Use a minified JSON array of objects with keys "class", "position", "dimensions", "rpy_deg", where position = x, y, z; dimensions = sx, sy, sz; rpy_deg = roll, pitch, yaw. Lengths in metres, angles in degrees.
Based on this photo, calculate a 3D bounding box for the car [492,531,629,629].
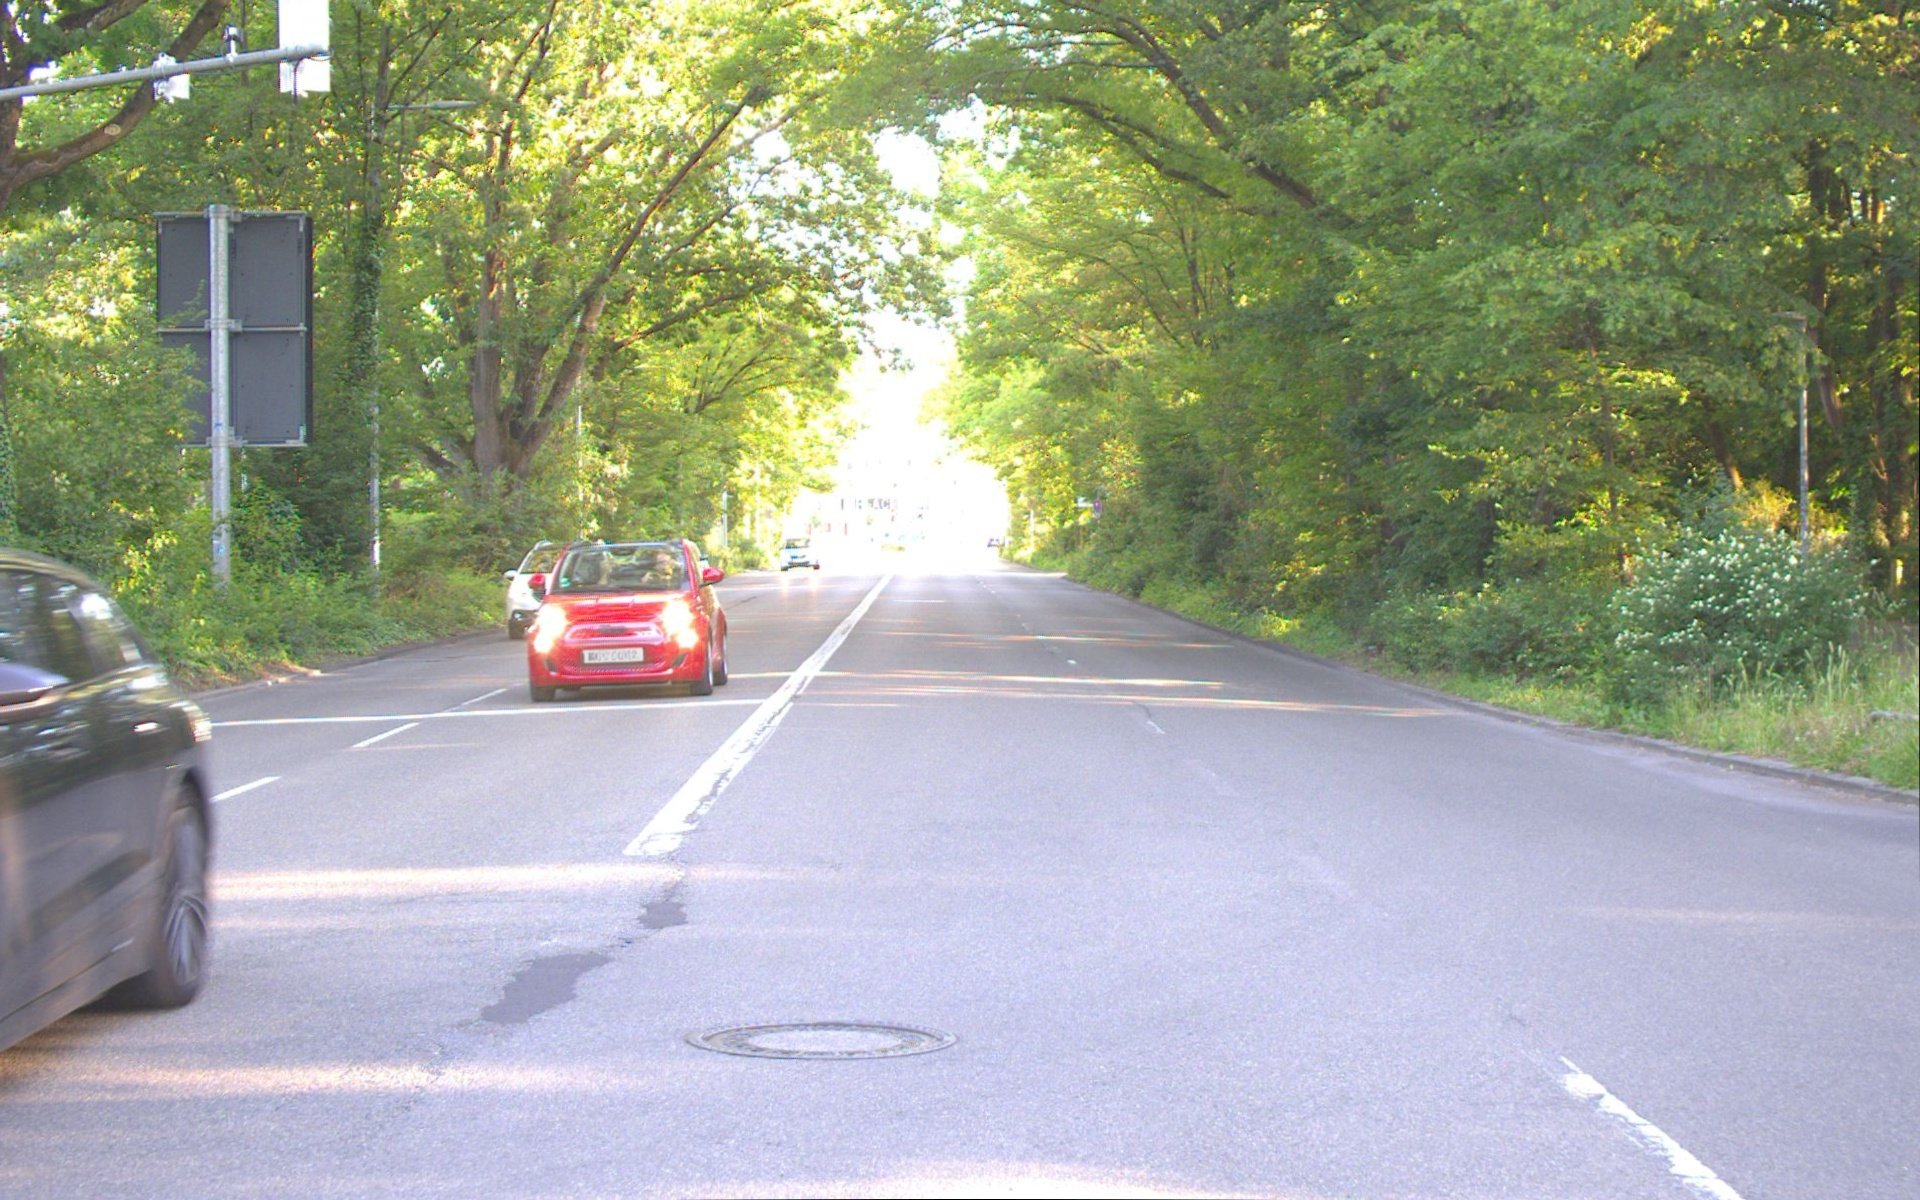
[{"class":"car","position":[-6.407,-0.351,55.562],"dimensions":[1.797,1.501,4.365],"rpy_deg":[-1,1,-1]}]

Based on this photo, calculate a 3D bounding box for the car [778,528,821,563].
[{"class":"car","position":[-7.081,-2.399,151.700],"dimensions":[1.797,1.501,4.365],"rpy_deg":[-1,1,-1]}]

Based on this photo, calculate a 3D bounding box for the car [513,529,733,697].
[{"class":"car","position":[-3.200,0.082,33.351],"dimensions":[1.797,1.501,4.365],"rpy_deg":[-1,1,-1]}]

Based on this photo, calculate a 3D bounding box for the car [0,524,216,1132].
[{"class":"car","position":[-3.341,0.566,9.077],"dimensions":[1.887,1.501,4.365],"rpy_deg":[-1,1,-1]}]
